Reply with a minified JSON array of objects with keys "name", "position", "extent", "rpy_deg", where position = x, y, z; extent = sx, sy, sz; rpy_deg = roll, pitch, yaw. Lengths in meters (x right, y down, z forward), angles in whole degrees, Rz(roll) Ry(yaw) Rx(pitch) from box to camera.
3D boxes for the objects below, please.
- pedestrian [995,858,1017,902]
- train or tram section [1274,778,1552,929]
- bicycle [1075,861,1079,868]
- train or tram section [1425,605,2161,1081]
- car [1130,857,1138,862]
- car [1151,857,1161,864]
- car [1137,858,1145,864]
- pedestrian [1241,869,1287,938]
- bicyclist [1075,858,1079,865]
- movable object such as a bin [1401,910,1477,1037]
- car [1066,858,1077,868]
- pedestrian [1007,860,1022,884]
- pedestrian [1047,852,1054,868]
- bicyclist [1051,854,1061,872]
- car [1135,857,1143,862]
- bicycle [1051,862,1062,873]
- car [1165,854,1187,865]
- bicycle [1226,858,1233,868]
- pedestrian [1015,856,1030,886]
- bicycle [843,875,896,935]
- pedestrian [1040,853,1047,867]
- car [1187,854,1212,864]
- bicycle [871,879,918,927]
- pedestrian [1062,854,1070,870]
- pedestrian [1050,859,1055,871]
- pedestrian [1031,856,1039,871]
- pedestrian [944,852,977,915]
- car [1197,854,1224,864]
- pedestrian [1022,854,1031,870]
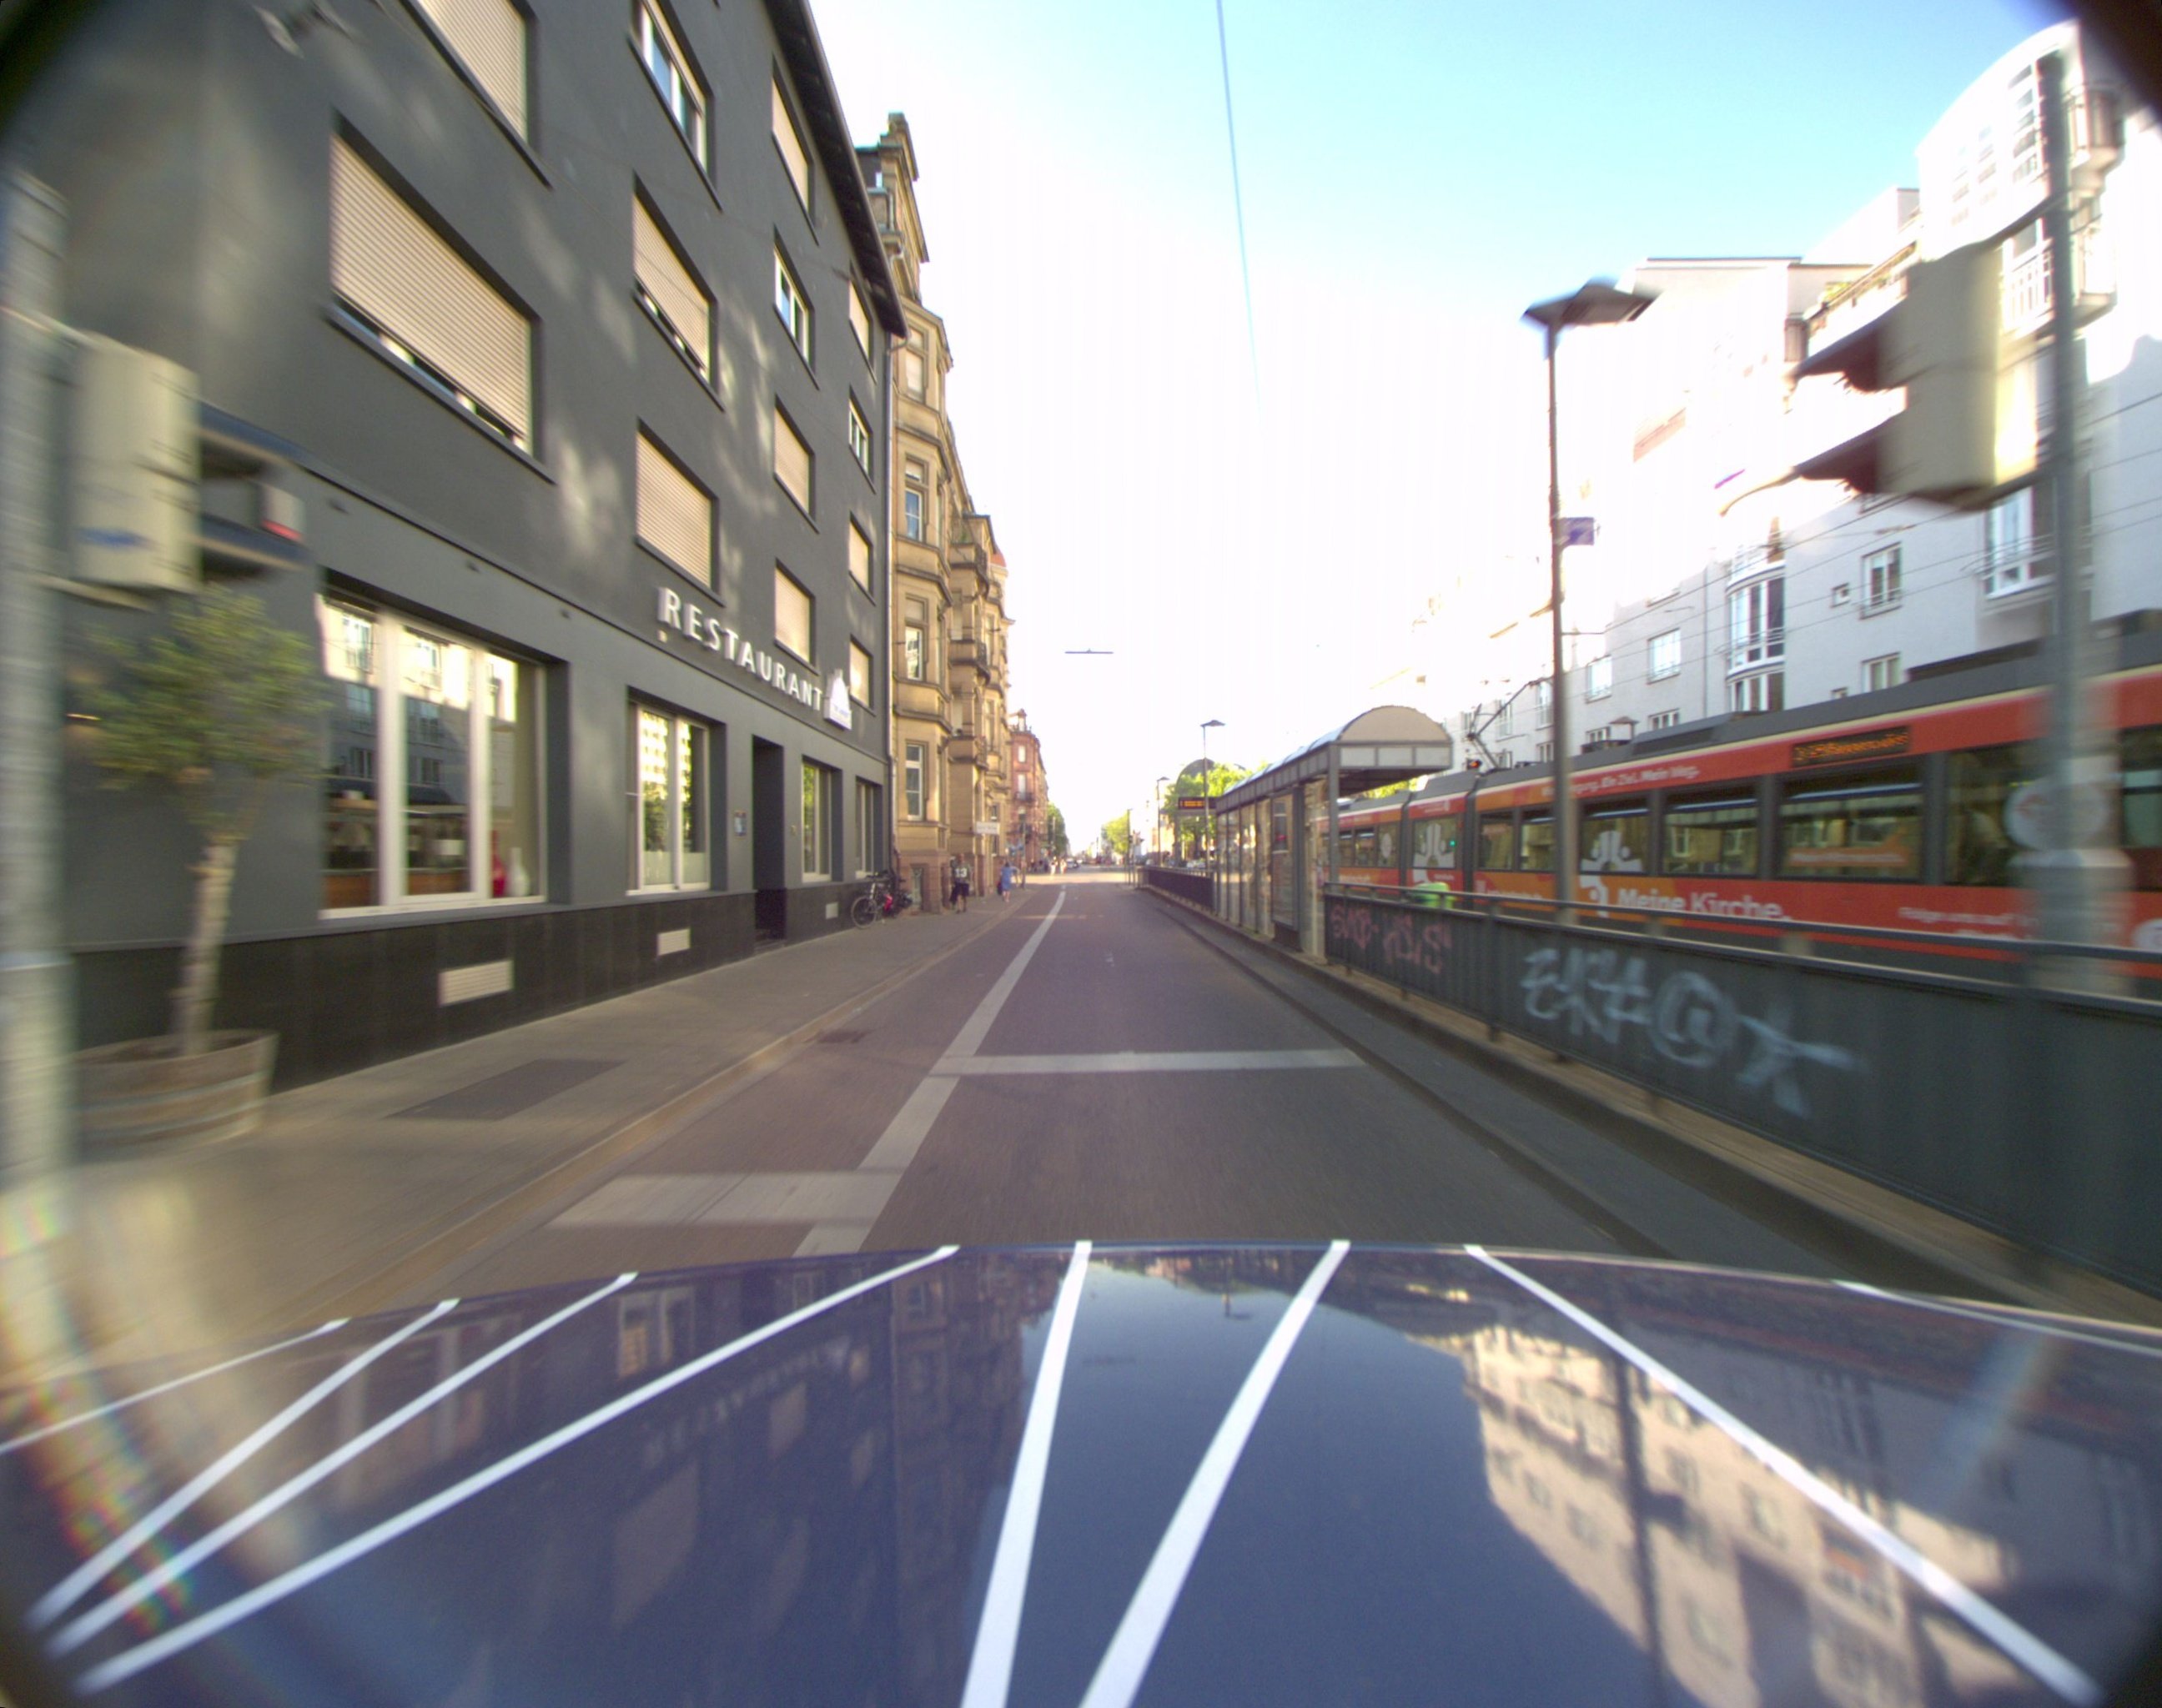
[{"name":"pedestrian","position":[-2.897,0.999,29.427],"extent":[0.764,1.635,0.832],"rpy_deg":[1,0,-1]},{"name":"train or tram section","position":[9.515,-0.053,24.726],"extent":[2.892,3.470,14.166],"rpy_deg":[-1,0,0]},{"name":"bicycle","position":[-0.701,1.726,128.896],"extent":[0.646,1.176,1.804],"rpy_deg":[0,0,-3]},{"name":"train or tram section","position":[9.370,-0.128,10.206],"extent":[2.892,3.470,14.949],"rpy_deg":[-1,0,1]},{"name":"car","position":[16.681,1.659,239.459],"extent":[1.965,1.594,3.999],"rpy_deg":[-2,0,-2]},{"name":"car","position":[18.387,1.524,186.924],"extent":[1.910,1.594,3.999],"rpy_deg":[-2,0,-2]},{"name":"car","position":[16.909,1.910,214.013],"extent":[1.965,1.594,3.999],"rpy_deg":[-2,0,-2]},{"name":"pedestrian","position":[3.191,0.854,13.294],"extent":[0.686,1.169,0.537],"rpy_deg":[0,0,1]},{"name":"bicyclist","position":[-0.644,1.337,128.929],"extent":[0.646,1.176,0.723],"rpy_deg":[0,0,-3]},{"name":"movable object such as a bin","position":[2.875,0.942,6.125],"extent":[0.353,0.939,0.530],"rpy_deg":[0,0,-1]},{"name":"car","position":[-1.713,1.577,135.505],"extent":[1.670,1.674,4.001],"rpy_deg":[-1,0,3]},{"name":"pedestrian","position":[-3.896,1.058,44.451],"extent":[0.796,1.324,0.719],"rpy_deg":[1,2,-2]},{"name":"pedestrian","position":[-3.748,0.735,92.709],"extent":[0.824,1.883,0.754],"rpy_deg":[1,1,0]},{"name":"bicyclist","position":[-2.310,0.868,70.956],"extent":[0.886,1.650,0.803],"rpy_deg":[0,1,3]},{"name":"car","position":[16.816,1.594,220.400],"extent":[1.965,1.594,3.999],"rpy_deg":[-2,0,-2]},{"name":"bicycle","position":[-2.315,1.261,70.951],"extent":[0.886,0.949,1.766],"rpy_deg":[0,0,3]},{"name":"car","position":[18.701,1.101,149.360],"extent":[4.007,1.952,1.907],"rpy_deg":[-2,1,-35]},{"name":"bicycle","position":[18.333,1.125,93.837],"extent":[0.582,1.227,1.857],"rpy_deg":[-2,0,5]},{"name":"pedestrian","position":[-3.358,0.966,43.692],"extent":[0.796,1.711,0.719],"rpy_deg":[1,2,-2]},{"name":"bicycle","position":[-4.611,1.081,16.654],"extent":[0.625,1.191,1.907],"rpy_deg":[2,0,-1]},{"name":"pedestrian","position":[-4.584,0.764,93.110],"extent":[0.777,1.713,0.754],"rpy_deg":[1,1,0]},{"name":"car","position":[20.308,0.876,130.167],"extent":[4.006,1.466,1.793],"rpy_deg":[-2,1,-32]},{"name":"bicycle","position":[-4.514,1.169,18.544],"extent":[0.592,1.064,1.804],"rpy_deg":[2,0,2]},{"name":"pedestrian","position":[-1.591,0.828,81.305],"extent":[0.849,1.651,0.850],"rpy_deg":[-1,1,3]},{"name":"pedestrian","position":[-4.452,1.701,118.360],"extent":[0.701,1.713,0.681],"rpy_deg":[1,1,1]},{"name":"pedestrian","position":[-5.213,1.074,86.300],"extent":[0.777,1.713,0.754],"rpy_deg":[1,1,0]},{"name":"pedestrian","position":[-3.549,0.856,22.417],"extent":[0.803,1.813,0.797],"rpy_deg":[1,0,-1]},{"name":"car","position":[20.328,0.799,119.290],"extent":[4.006,1.545,1.793],"rpy_deg":[-2,1,-32]},{"name":"pedestrian","position":[-6.245,0.946,87.000],"extent":[1.026,1.796,1.083],"rpy_deg":[0,0,-3]}]
